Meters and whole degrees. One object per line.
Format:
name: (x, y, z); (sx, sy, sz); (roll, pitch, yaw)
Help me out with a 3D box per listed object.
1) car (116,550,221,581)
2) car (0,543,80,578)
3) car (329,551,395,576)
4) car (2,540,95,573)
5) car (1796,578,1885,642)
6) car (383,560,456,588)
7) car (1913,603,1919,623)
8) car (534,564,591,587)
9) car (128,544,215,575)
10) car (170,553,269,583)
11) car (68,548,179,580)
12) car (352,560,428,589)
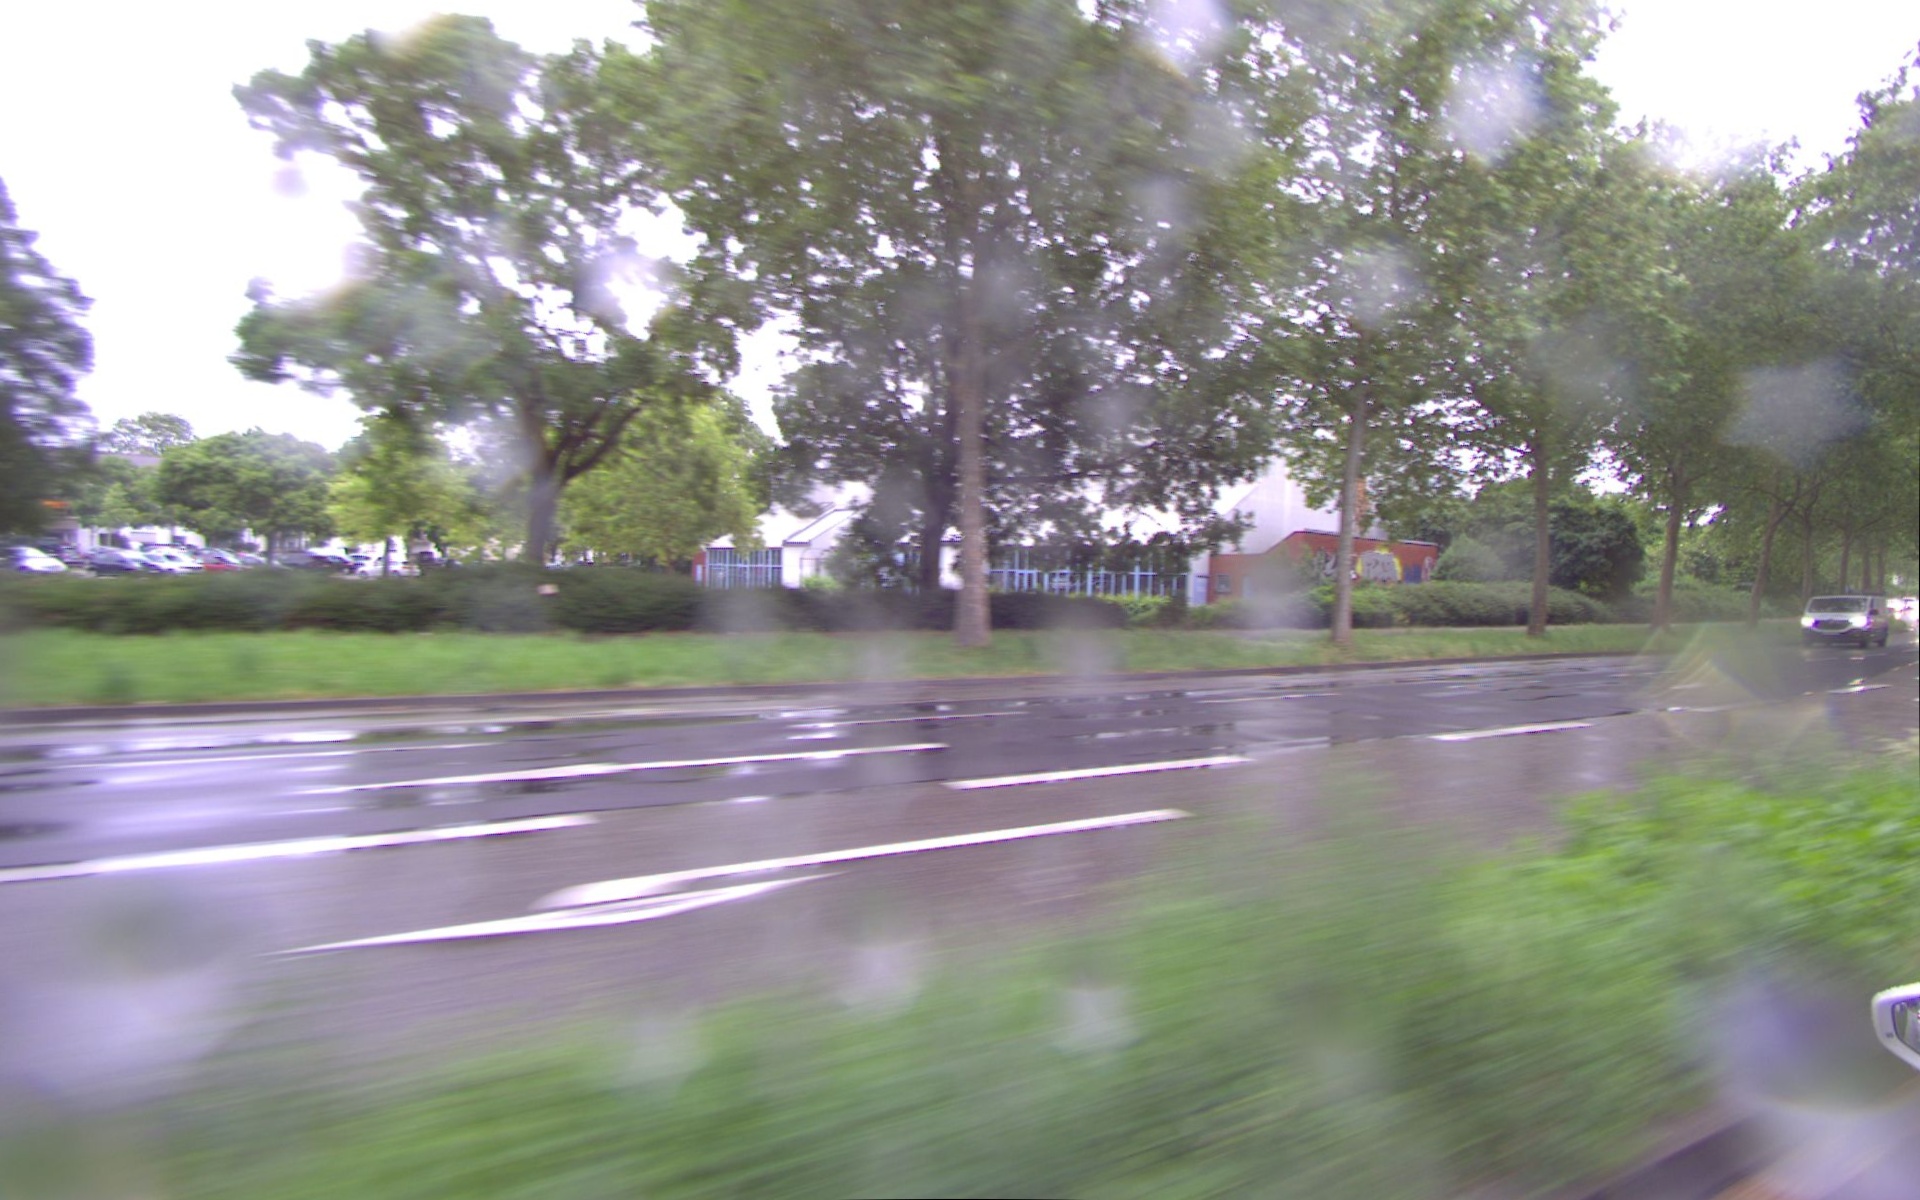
car: (-44.115, -1.887, 56.059); (4.408, 1.558, 2.001); (2, 1, 5)
car: (-45.763, -1.942, 48.836); (4.408, 1.558, 2.001); (2, 1, 5)
car: (-49.940, -3.016, 83.910); (4.408, 1.927, 2.001); (2, 1, 5)
car: (-59.712, -2.833, 65.834); (4.408, 1.927, 2.001); (2, 1, 5)
car: (33.924, 0.362, 38.657); (5.395, 2.256, 2.011); (0, 1, -43)
car: (-40.249, -1.963, 74.834); (4.408, 1.927, 2.001); (2, 1, 5)
car: (76.568, 1.024, 79.388); (1.725, 1.582, 4.341); (2, 1, 44)
car: (-36.236, -2.229, 91.622); (4.408, 1.927, 2.001); (2, 1, 5)
car: (-53.440, -2.732, 68.112); (4.408, 1.927, 2.001); (2, 1, 5)
car: (-43.216, -1.850, 58.694); (4.408, 1.558, 2.001); (2, 1, 5)
car: (-44.777, -1.908, 53.832); (4.408, 1.558, 2.001); (2, 1, 5)
car: (-41.024, -1.842, 72.321); (4.408, 1.927, 2.001); (2, 1, 5)
